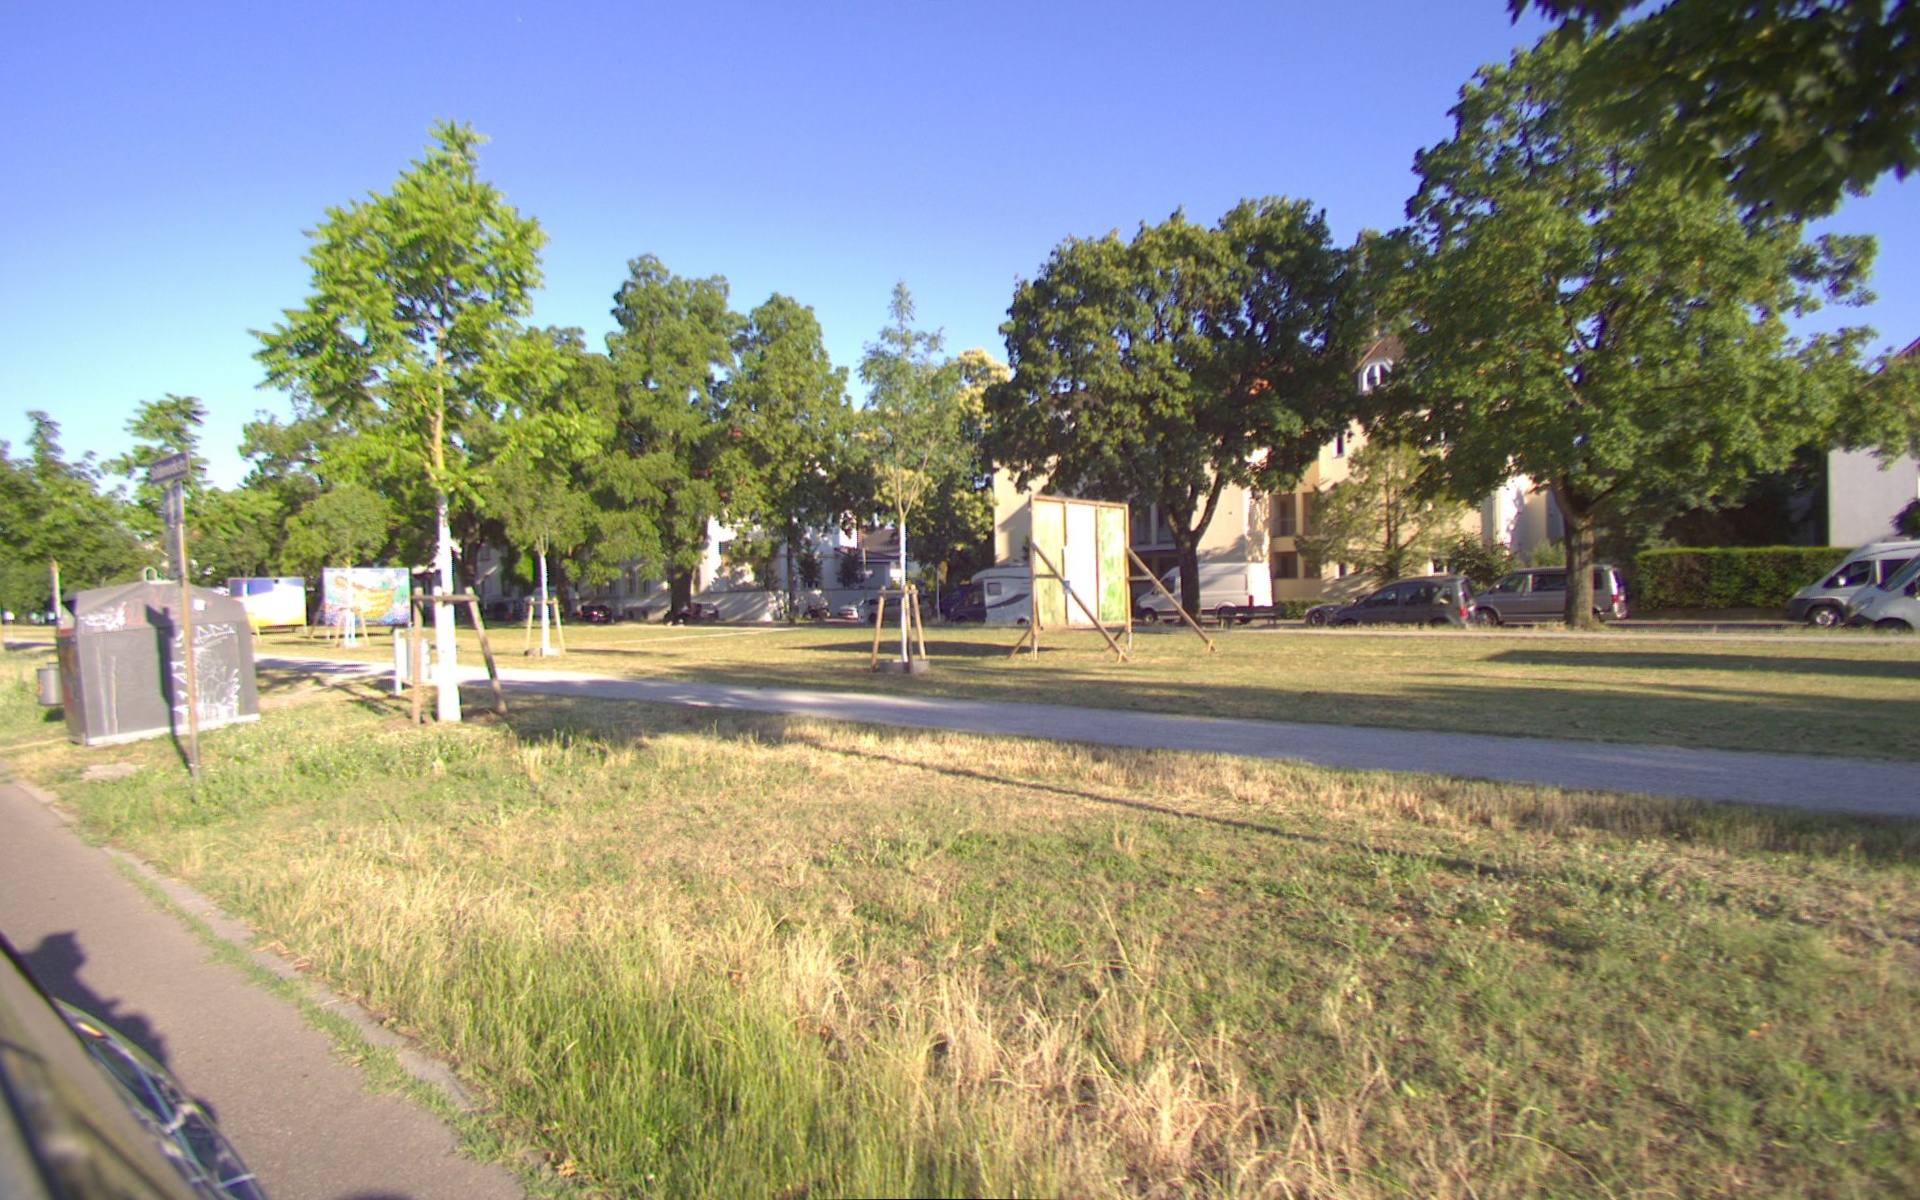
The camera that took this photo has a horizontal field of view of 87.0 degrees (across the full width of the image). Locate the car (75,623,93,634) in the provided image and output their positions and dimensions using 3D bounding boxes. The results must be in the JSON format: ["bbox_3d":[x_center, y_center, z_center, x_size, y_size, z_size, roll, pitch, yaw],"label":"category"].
[{"bbox_3d":[-156.302,5.093,180.609,4.000,2.029,1.972,-2,-1,44],"label":"car"}]

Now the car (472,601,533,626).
[{"bbox_3d":[-32.705,0.952,72.340,4.947,1.654,1.974,-1,2,40],"label":"car"}]

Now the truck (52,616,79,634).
[{"bbox_3d":[-168.505,4.777,190.660,7.704,3.170,2.750,-2,0,40],"label":"truck"}]

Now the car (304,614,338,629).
[{"bbox_3d":[-72.356,2.418,114.549,3.993,1.510,1.975,-2,0,37],"label":"car"}]

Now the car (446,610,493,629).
[{"bbox_3d":[-36.717,1.448,75.725,4.043,1.325,1.832,-1,2,44],"label":"car"}]

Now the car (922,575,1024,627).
[{"bbox_3d":[0.600,0.058,51.053,5.116,2.437,1.916,0,-2,42],"label":"car"}]

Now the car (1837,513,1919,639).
[{"bbox_3d":[23.722,-0.524,22.896,5.869,2.847,2.236,0,-2,42],"label":"car"}]

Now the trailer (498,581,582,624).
[{"bbox_3d":[-28.406,0.170,68.396,6.632,2.679,2.448,0,-2,41],"label":"trailer"}]

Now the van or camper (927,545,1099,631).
[{"bbox_3d":[2.070,-0.412,41.803,6.902,3.287,2.614,-2,0,42],"label":"van or camper"}]

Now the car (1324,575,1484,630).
[{"bbox_3d":[13.643,0.095,31.250,4.306,1.576,1.400,-1,1,40],"label":"car"}]

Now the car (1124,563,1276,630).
[{"bbox_3d":[10.160,-0.119,43.191,6.087,2.617,1.973,0,-2,41],"label":"car"}]

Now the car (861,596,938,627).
[{"bbox_3d":[-3.267,0.626,54.570,3.806,1.554,1.974,-1,1,39],"label":"car"}]

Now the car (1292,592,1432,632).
[{"bbox_3d":[15.195,0.452,38.395,4.564,1.413,1.971,0,-2,45],"label":"car"}]

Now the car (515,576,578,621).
[{"bbox_3d":[-32.631,-0.090,79.766,6.071,3.274,1.973,-2,-1,41],"label":"car"}]

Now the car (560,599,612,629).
[{"bbox_3d":[-27.786,1.041,75.144,3.999,2.170,1.972,-2,0,42],"label":"car"}]

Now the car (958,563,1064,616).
[{"bbox_3d":[2.070,-0.412,41.803,3.999,2.029,1.972,-2,0,42],"label":"car"}]

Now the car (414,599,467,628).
[{"bbox_3d":[-40.689,1.061,79.235,4.566,2.191,1.974,-2,-1,39],"label":"car"}]

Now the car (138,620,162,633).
[{"bbox_3d":[-117.246,3.879,146.442,3.998,1.715,1.973,-2,0,41],"label":"car"}]

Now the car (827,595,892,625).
[{"bbox_3d":[-6.894,0.682,70.067,1.977,1.914,4.472,-2,0,36],"label":"car"}]

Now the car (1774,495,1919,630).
[{"bbox_3d":[26.770,-0.993,27.819,6.762,3.586,2.279,0,-2,41],"label":"car"}]

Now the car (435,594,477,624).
[{"bbox_3d":[-45.240,0.750,90.866,3.998,2.560,1.973,1,1,41],"label":"car"}]

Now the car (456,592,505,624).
[{"bbox_3d":[-41.547,0.715,87.712,5.042,2.660,1.925,0,-2,41],"label":"car"}]

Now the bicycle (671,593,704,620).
[{"bbox_3d":[-14.001,0.352,51.941,2.331,1.352,0.505,-1,0,45],"label":"bicycle"}]

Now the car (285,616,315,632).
[{"bbox_3d":[-66.646,2.471,102.189,1.868,1.534,3.683,-1,-1,-43],"label":"car"}]

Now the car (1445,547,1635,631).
[{"bbox_3d":[19.587,-0.331,34.299,5.321,2.624,2.114,0,-2,40],"label":"car"}]

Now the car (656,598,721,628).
[{"bbox_3d":[-18.105,0.883,67.367,4.712,1.927,1.870,-2,0,42],"label":"car"}]
